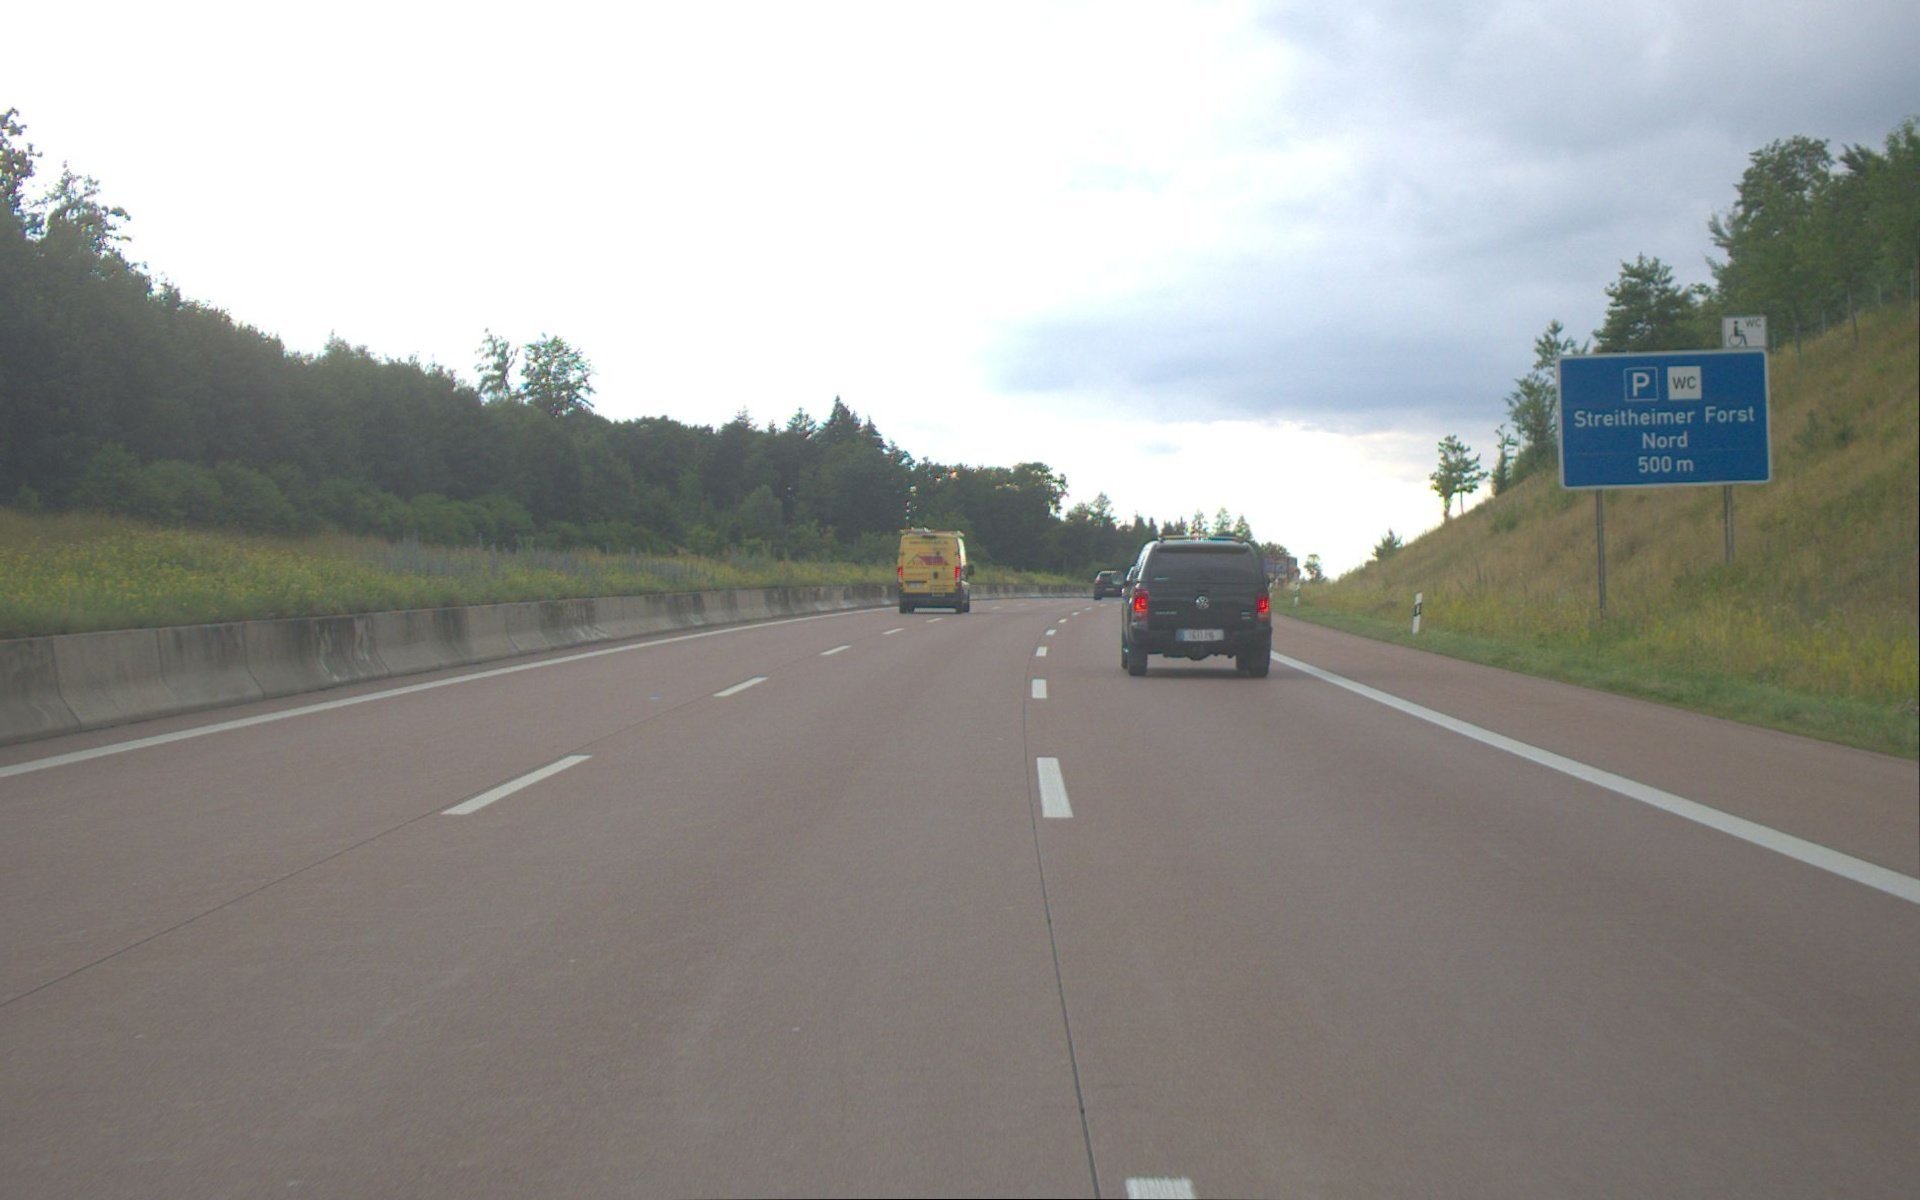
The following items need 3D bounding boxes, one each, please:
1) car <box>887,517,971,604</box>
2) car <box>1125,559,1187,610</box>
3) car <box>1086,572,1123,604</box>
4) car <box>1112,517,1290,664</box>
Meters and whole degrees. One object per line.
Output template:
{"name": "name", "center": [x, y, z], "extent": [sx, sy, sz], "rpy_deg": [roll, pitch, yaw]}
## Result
{"name": "car", "center": [-0.964, -1.231, 111.000], "extent": [2.459, 2.697, 5.613], "rpy_deg": [0, 0, 2]}
{"name": "car", "center": [6.561, -0.524, 115.494], "extent": [1.978, 1.642, 4.619], "rpy_deg": [1, 0, 3]}
{"name": "car", "center": [8.302, -0.691, 197.059], "extent": [1.888, 1.758, 4.996], "rpy_deg": [0, 0, 5]}
{"name": "car", "center": [3.227, -0.105, 47.040], "extent": [2.044, 1.890, 5.577], "rpy_deg": [0, 0, 0]}
